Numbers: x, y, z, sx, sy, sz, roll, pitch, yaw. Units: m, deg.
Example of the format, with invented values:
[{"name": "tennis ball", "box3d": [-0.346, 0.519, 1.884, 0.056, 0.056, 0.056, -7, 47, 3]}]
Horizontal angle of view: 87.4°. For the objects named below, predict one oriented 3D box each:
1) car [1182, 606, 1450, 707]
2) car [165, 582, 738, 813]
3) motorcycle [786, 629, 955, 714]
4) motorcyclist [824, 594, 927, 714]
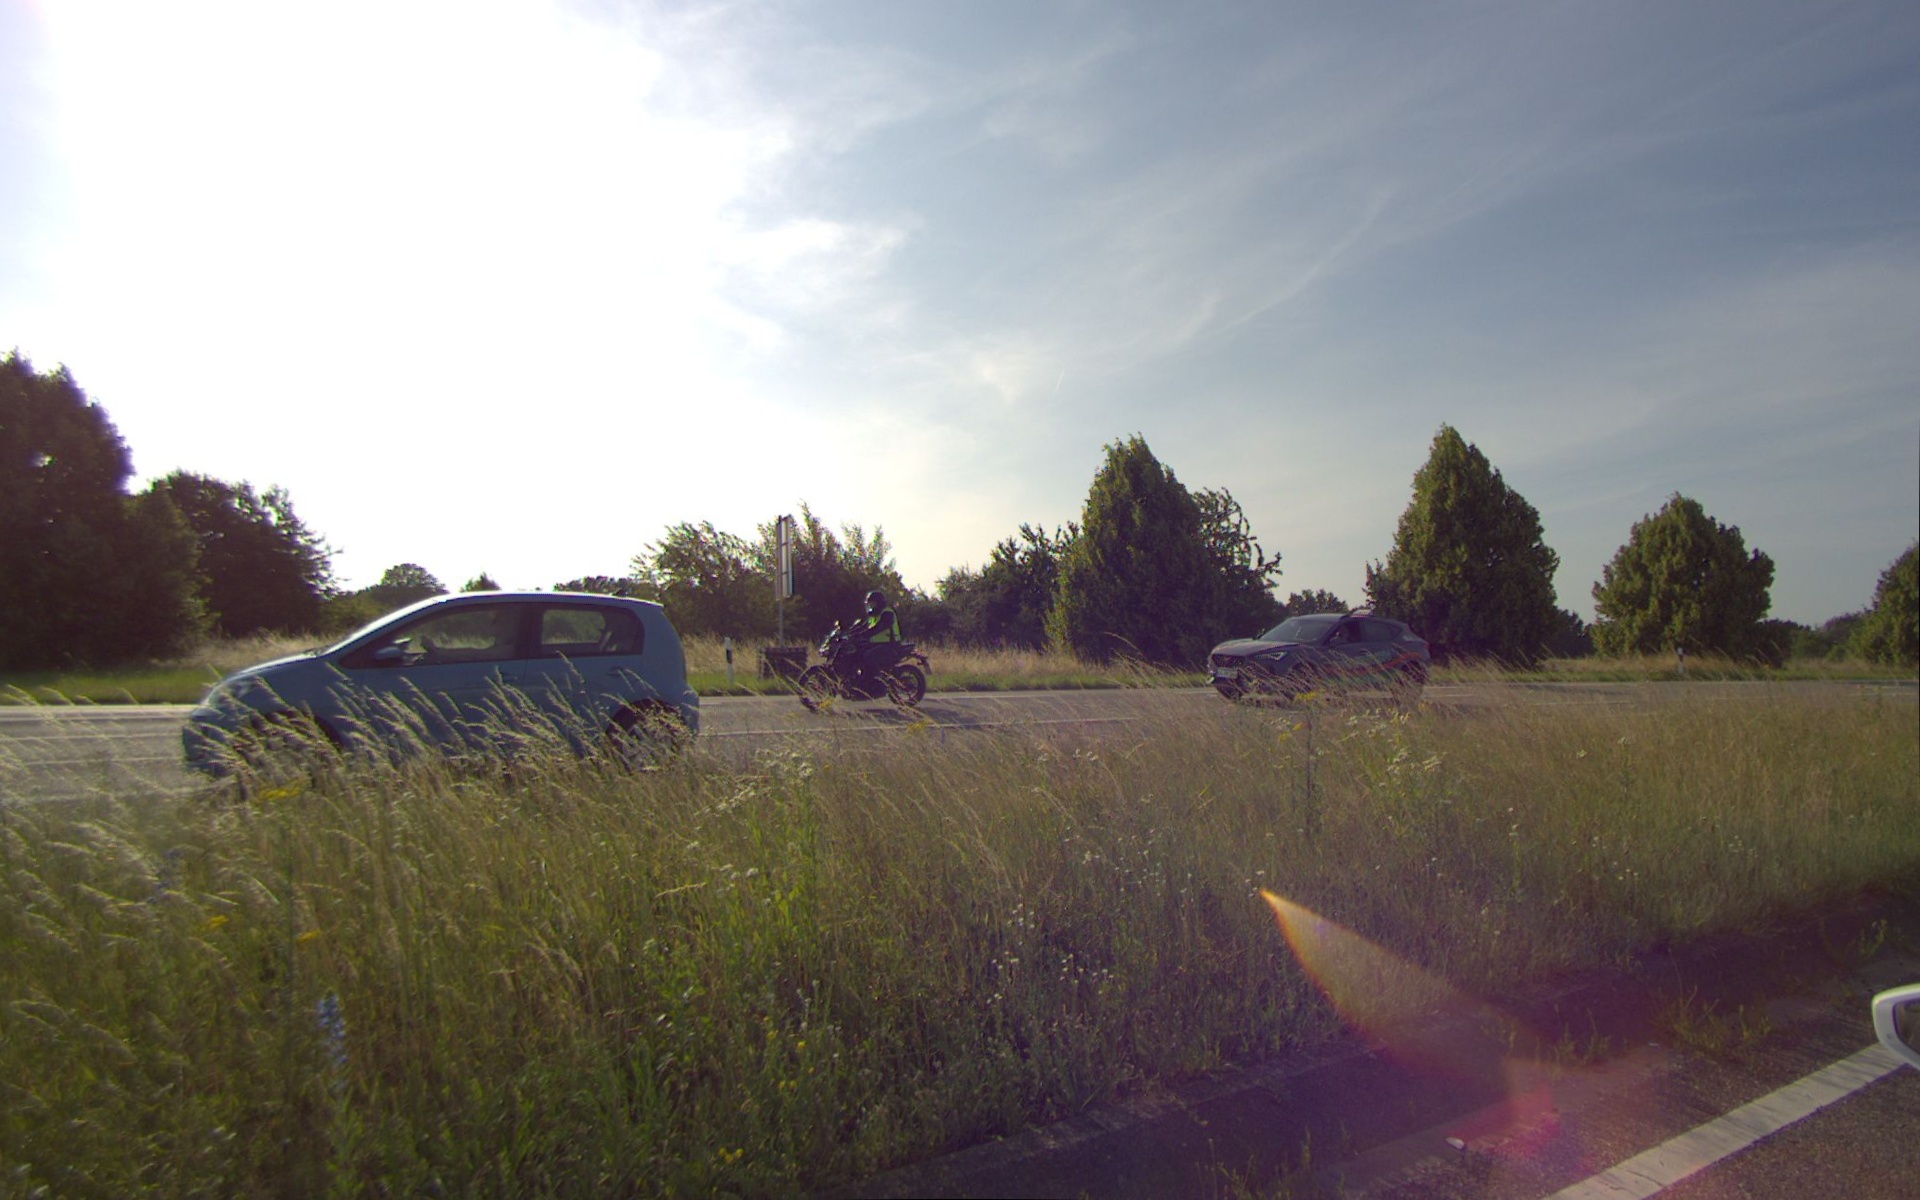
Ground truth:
[{"name": "car", "box3d": [6.321, 0.954, 17.744, 4.552, 1.586, 1.905, 2, -1, -28]}, {"name": "car", "box3d": [-3.855, 0.669, 8.049, 3.709, 1.462, 1.670, 2, -1, -31]}, {"name": "motorcycle", "box3d": [-1.248, 0.987, 14.274, 2.281, 1.108, 0.748, 2, -1, -31]}, {"name": "motorcyclist", "box3d": [-1.196, 0.753, 14.283, 1.235, 1.625, 0.748, 2, -1, -31]}]
